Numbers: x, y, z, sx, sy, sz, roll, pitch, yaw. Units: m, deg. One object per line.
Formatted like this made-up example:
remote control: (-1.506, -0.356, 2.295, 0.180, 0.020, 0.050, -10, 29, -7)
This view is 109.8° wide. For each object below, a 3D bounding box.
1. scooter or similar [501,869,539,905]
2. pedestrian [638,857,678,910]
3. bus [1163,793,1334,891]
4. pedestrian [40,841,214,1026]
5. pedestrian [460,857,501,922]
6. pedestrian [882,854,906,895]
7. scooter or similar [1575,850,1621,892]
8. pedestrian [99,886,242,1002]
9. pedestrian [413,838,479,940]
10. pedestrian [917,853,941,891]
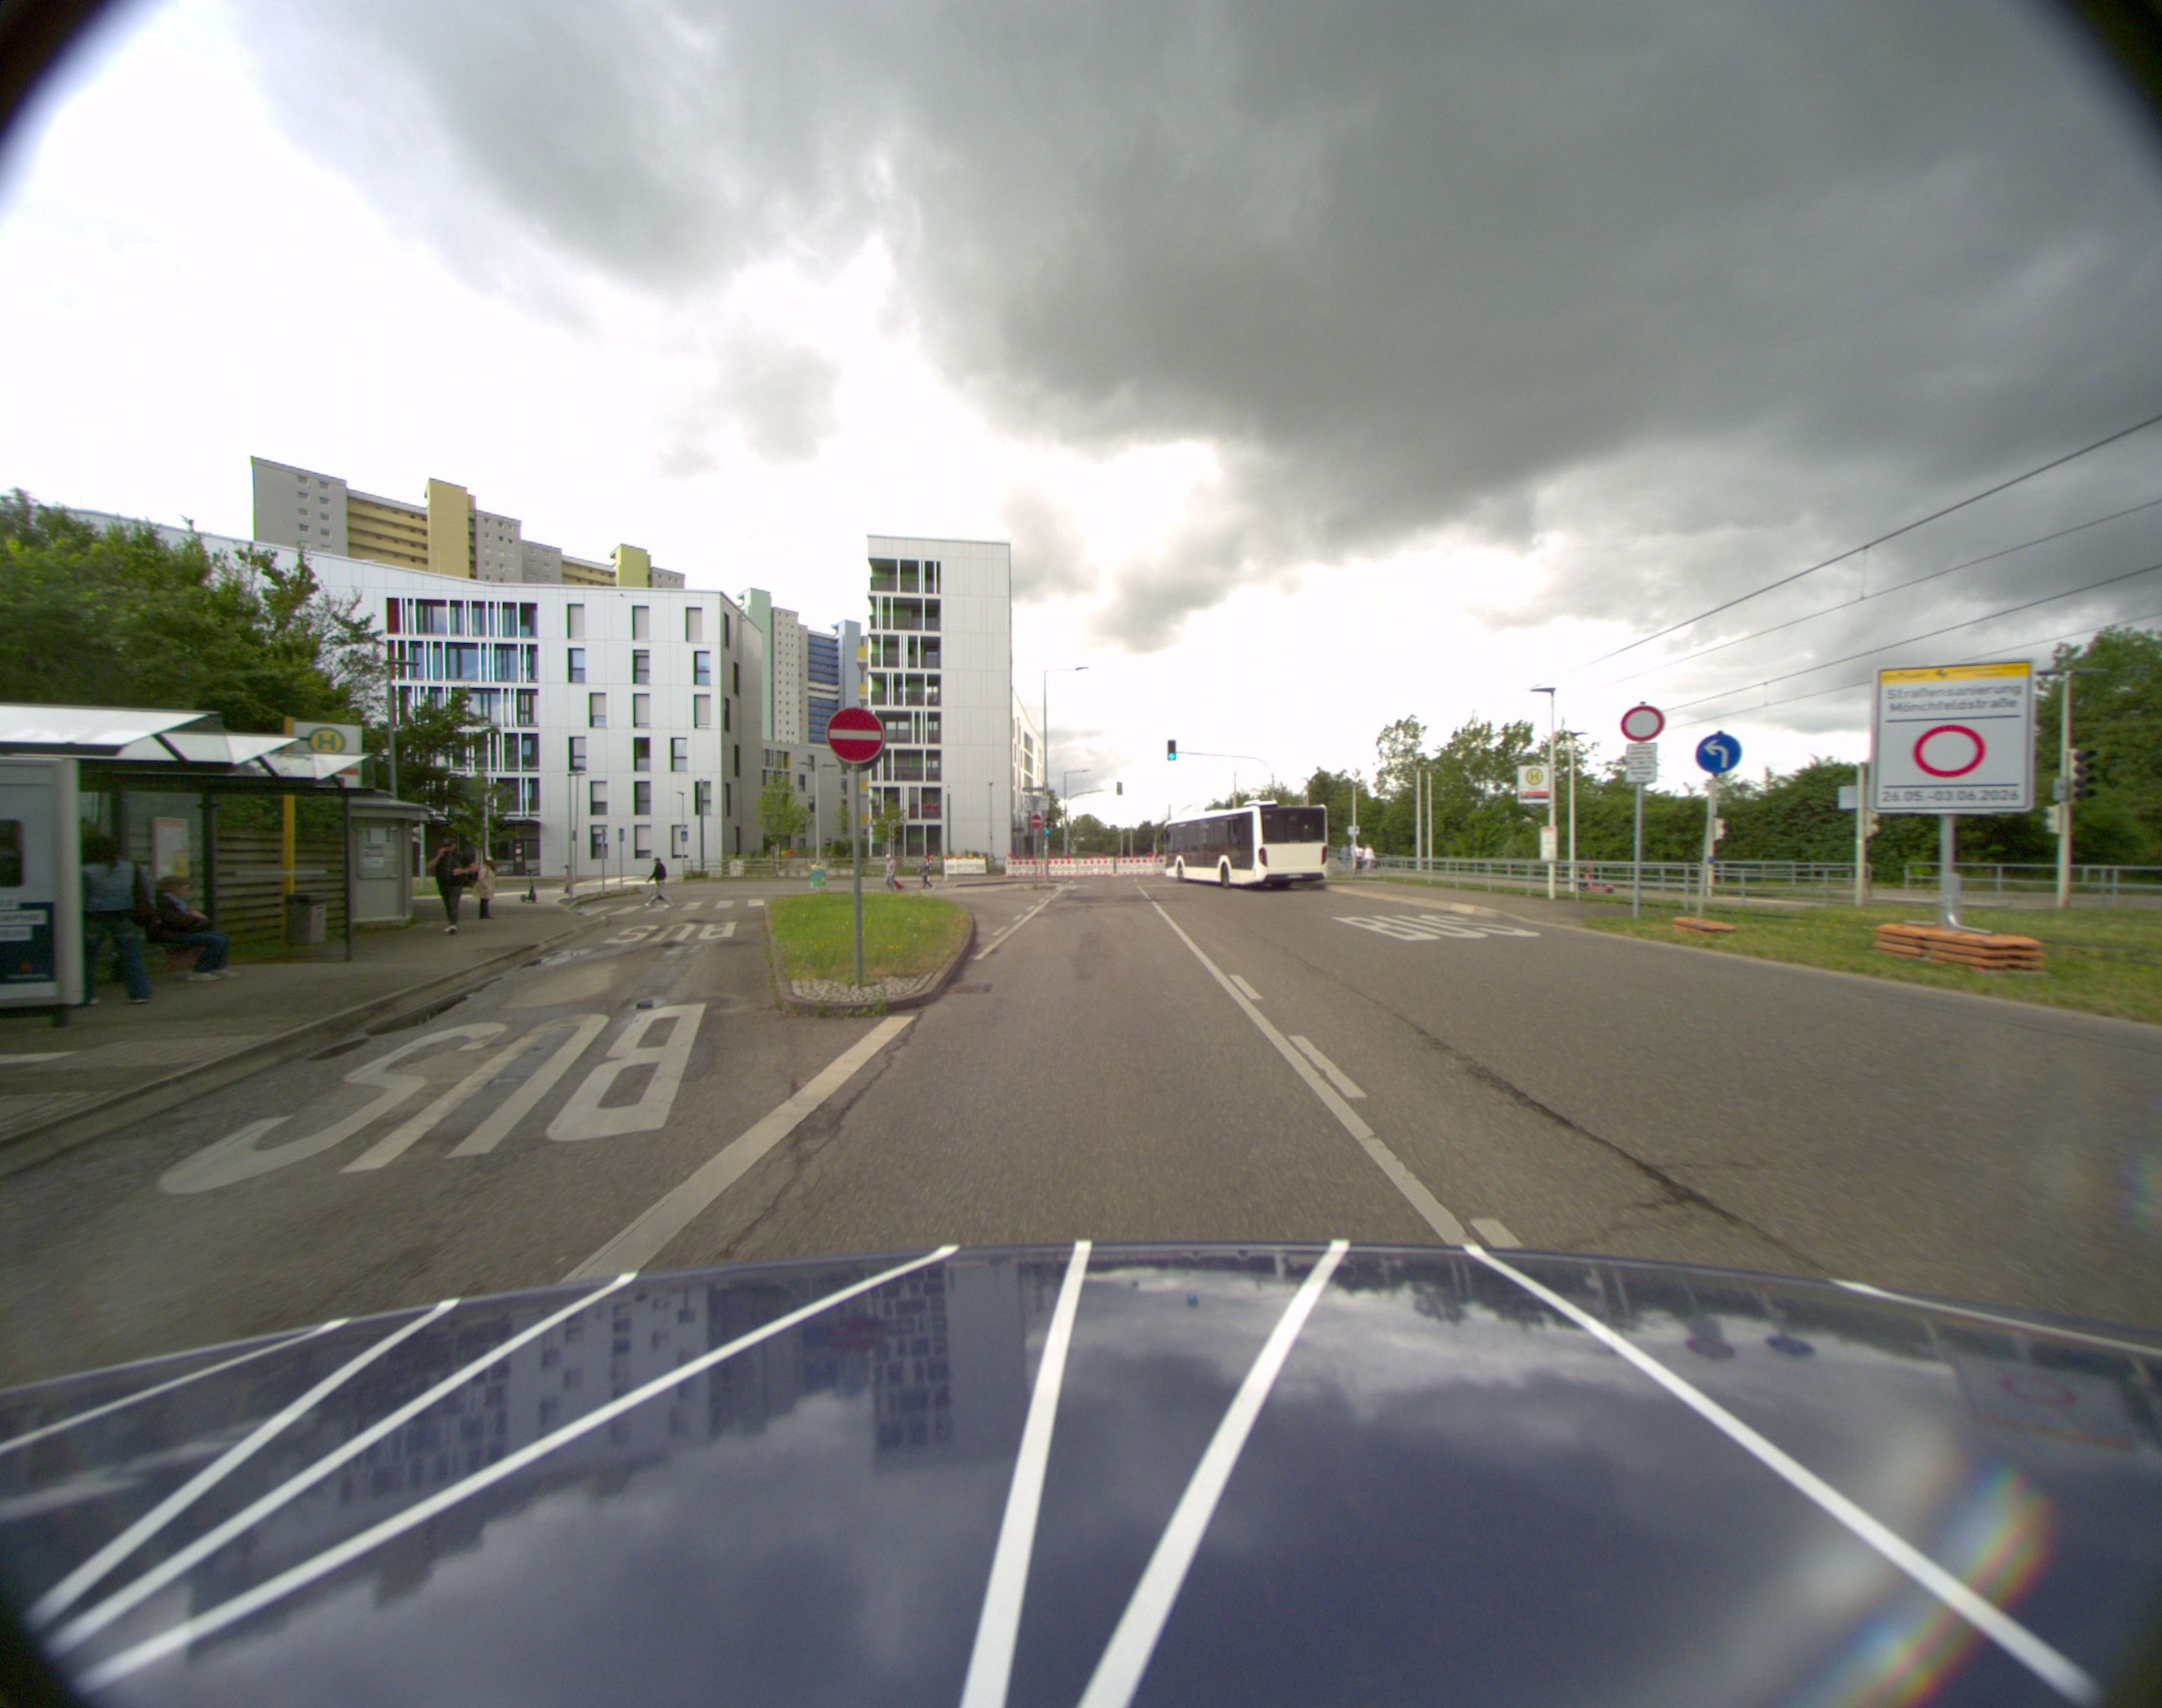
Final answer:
scooter or similar: (-20.890, 1.216, 28.296, 1.491, 1.267, 0.623, 1, 2, 33)
pedestrian: (-14.471, 0.988, 26.033, 1.063, 1.737, 0.955, -1, 1, -23)
bus: (6.161, -0.489, 30.868, 2.675, 3.184, 12.188, -1, 1, -8)
pedestrian: (-9.020, 0.708, 7.230, 0.687, 1.640, 0.770, -1, 1, -18)
pedestrian: (-15.135, 0.883, 19.169, 0.688, 1.585, 0.769, -1, 1, -30)
pedestrian: (-7.711, 0.818, 31.381, 0.721, 1.625, 0.699, 2, 3, 16)
scooter or similar: (16.093, 0.505, 23.670, 0.412, 1.264, 1.268, -1, 1, -9)
pedestrian: (-10.075, 0.962, 8.446, 0.751, 1.163, 0.769, -1, 1, -27)
pedestrian: (-11.817, 0.636, 14.174, 0.859, 1.811, 0.982, -2, 0, -38)
pedestrian: (-6.408, 0.753, 32.033, 0.731, 1.558, 0.693, 0, 1, 12)
